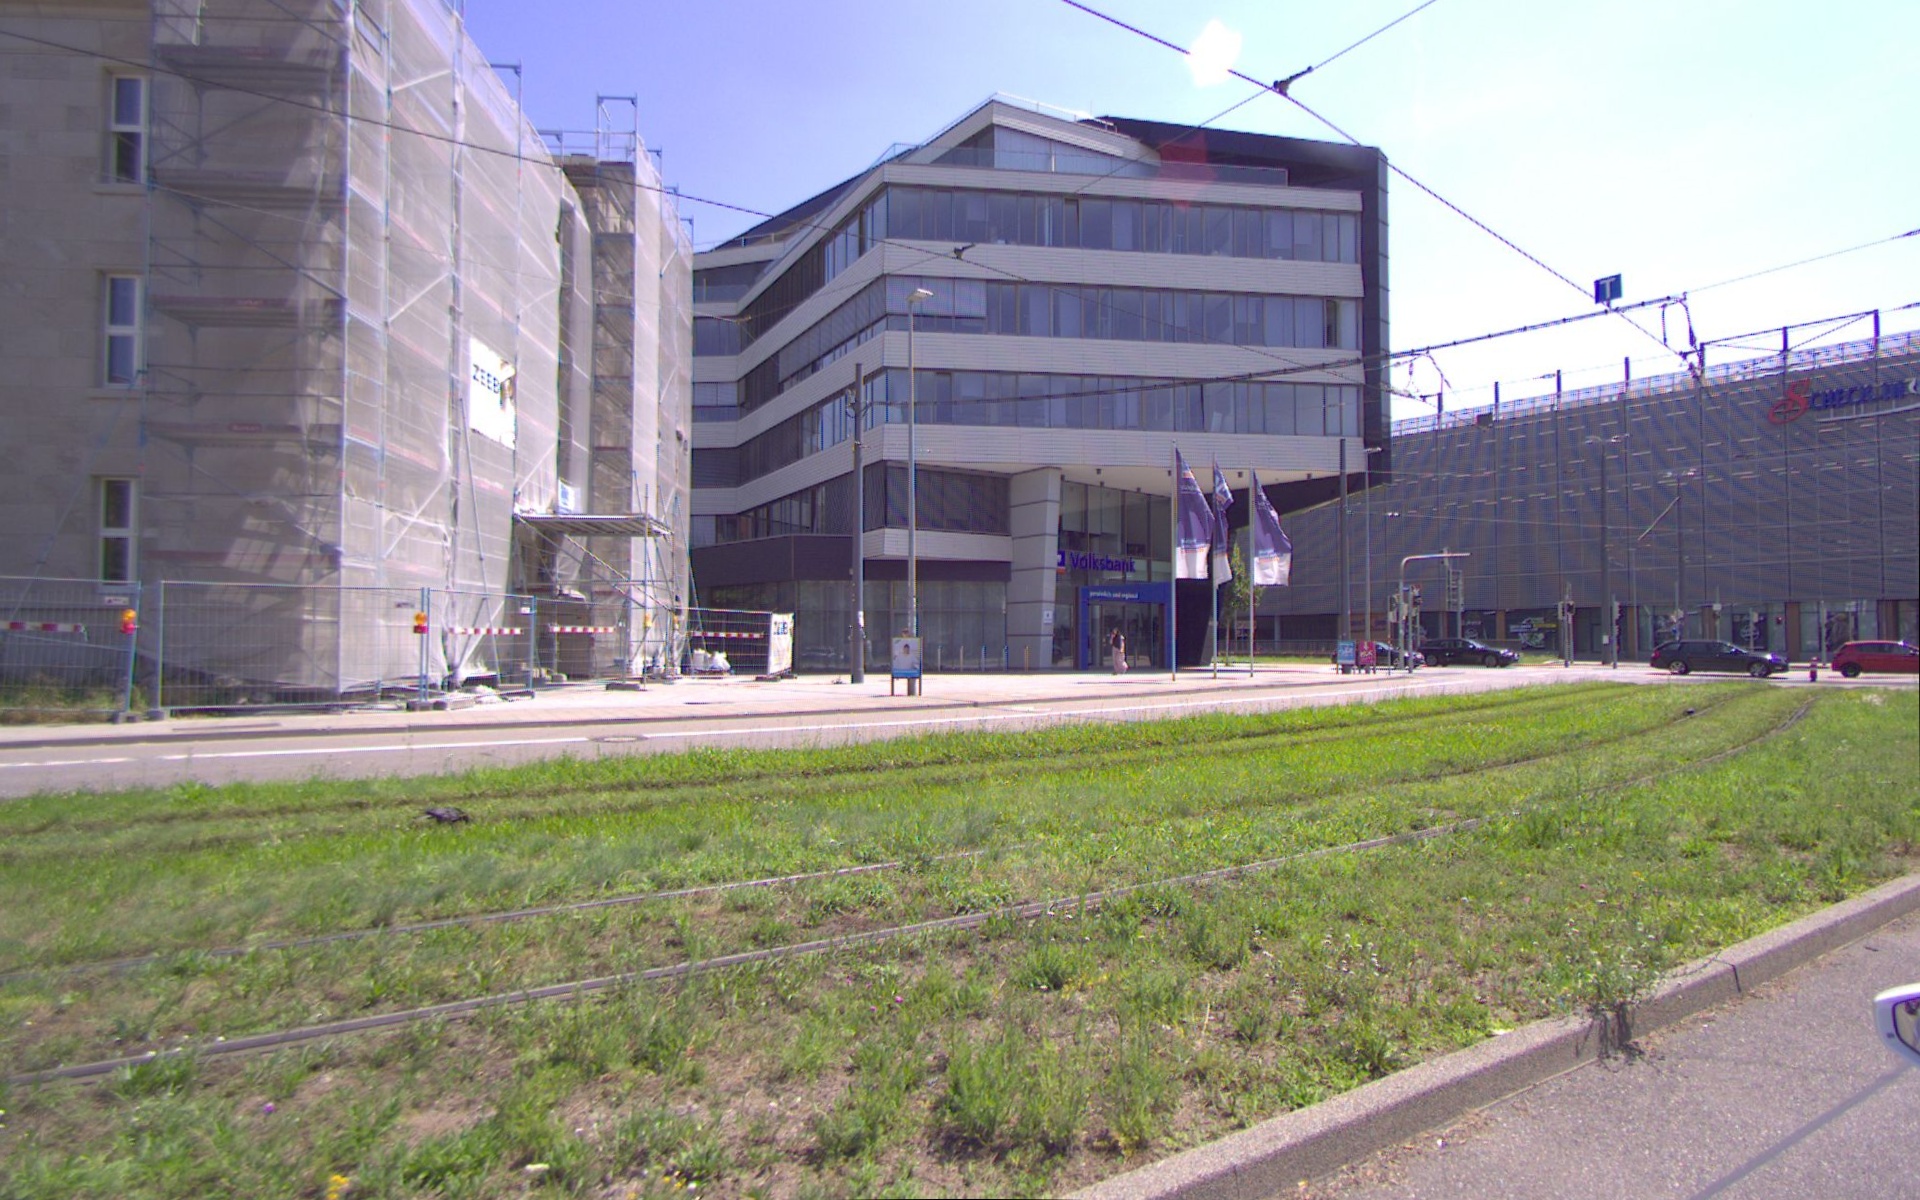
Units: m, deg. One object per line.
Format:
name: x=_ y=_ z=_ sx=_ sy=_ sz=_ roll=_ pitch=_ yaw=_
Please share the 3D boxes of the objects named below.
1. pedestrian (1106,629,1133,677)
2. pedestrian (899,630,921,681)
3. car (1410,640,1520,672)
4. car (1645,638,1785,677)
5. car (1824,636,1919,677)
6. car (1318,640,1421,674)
pedestrian: x=5.613 y=1.849 z=35.426 sx=0.735 sy=1.652 sz=0.915 roll=0 pitch=-1 yaw=24
pedestrian: x=-1.543 y=1.705 z=30.913 sx=0.577 sy=1.538 sz=0.581 roll=0 pitch=-1 yaw=9
car: x=26.009 y=2.867 z=51.860 sx=1.875 sy=1.479 sz=4.718 roll=1 pitch=-2 yaw=-44
car: x=31.142 y=2.359 z=41.486 sx=4.475 sy=1.528 sz=1.833 roll=-3 pitch=-3 yaw=42
car: x=37.308 y=2.243 z=40.177 sx=4.084 sy=1.528 sz=1.831 roll=-1 pitch=-2 yaw=45
car: x=20.794 y=2.866 z=51.122 sx=1.987 sy=1.597 sz=4.504 roll=1 pitch=-2 yaw=-44
